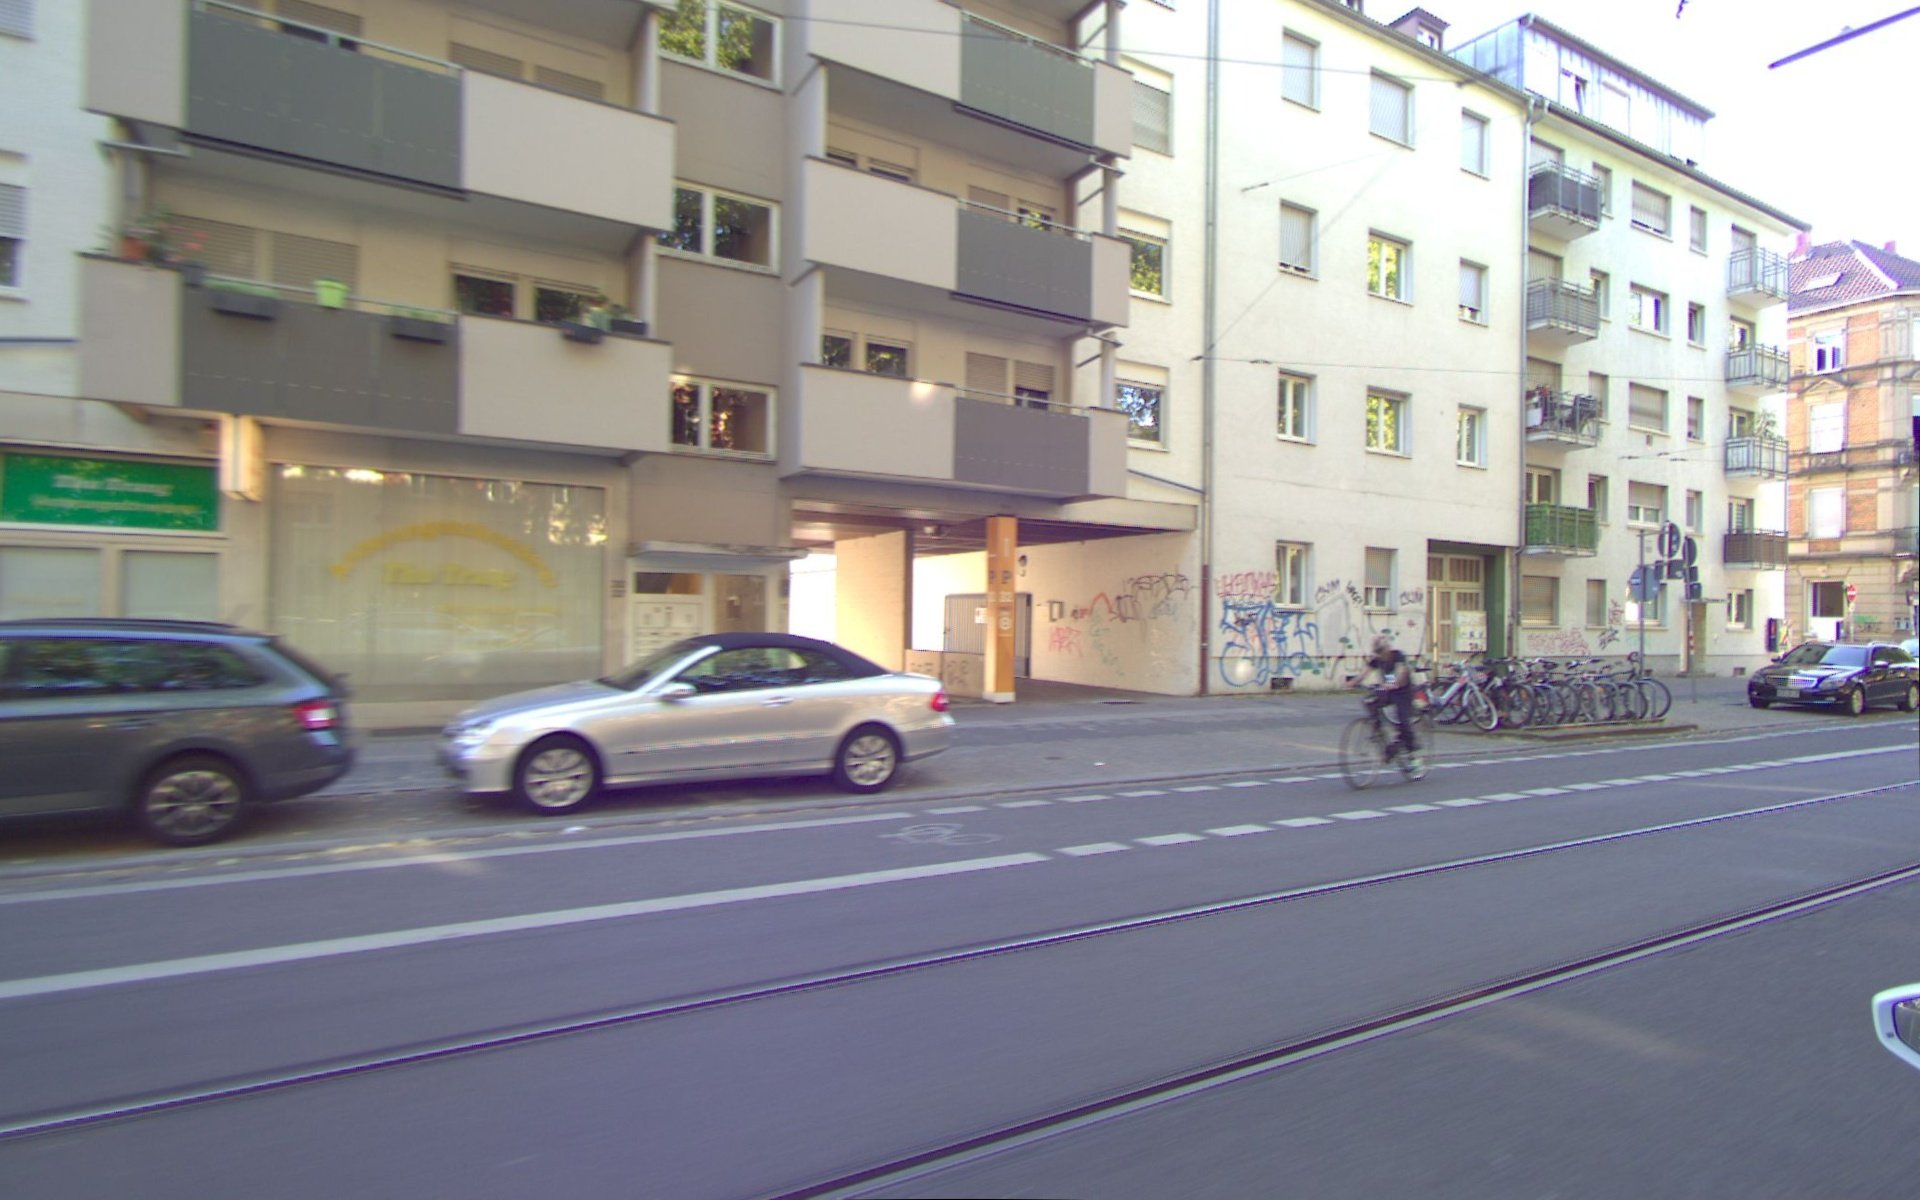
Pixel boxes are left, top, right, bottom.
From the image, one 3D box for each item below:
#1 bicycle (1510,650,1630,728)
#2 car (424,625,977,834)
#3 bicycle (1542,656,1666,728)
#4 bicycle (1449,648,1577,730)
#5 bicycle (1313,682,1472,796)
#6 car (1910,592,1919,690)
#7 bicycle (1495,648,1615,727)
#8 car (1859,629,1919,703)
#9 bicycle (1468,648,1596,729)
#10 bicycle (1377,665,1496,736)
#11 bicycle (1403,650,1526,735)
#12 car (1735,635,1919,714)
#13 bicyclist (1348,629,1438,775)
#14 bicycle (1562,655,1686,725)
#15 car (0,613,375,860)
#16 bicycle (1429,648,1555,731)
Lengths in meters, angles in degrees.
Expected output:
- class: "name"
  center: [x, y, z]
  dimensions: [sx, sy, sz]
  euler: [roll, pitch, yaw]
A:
- class: "bicycle"
  center: [10.194, 1.465, 16.861]
  dimensions: [0.418, 1.134, 1.785]
  euler: [1, 0, -23]
- class: "car"
  center: [-2.273, 1.015, 9.262]
  dimensions: [4.671, 1.511, 1.682]
  euler: [1, -1, -30]
- class: "bicycle"
  center: [11.033, 1.549, 17.288]
  dimensions: [0.396, 1.051, 1.889]
  euler: [1, 0, -23]
- class: "bicycle"
  center: [8.885, 1.401, 16.240]
  dimensions: [0.433, 1.134, 1.956]
  euler: [1, 0, -23]
- class: "bicycle"
  center: [4.410, 1.370, 10.190]
  dimensions: [1.924, 1.031, 0.415]
  euler: [1, -3, -30]
- class: "car"
  center: [28.174, 1.138, 27.123]
  dimensions: [5.597, 2.569, 2.056]
  euler: [1, -1, -29]
- class: "bicycle"
  center: [9.901, 1.429, 16.797]
  dimensions: [0.418, 1.134, 1.815]
  euler: [1, 0, -23]
- class: "car"
  center: [23.394, 1.557, 24.017]
  dimensions: [4.298, 1.653, 1.709]
  euler: [1, -1, -32]
- class: "bicycle"
  center: [9.315, 1.413, 16.456]
  dimensions: [0.418, 1.134, 1.964]
  euler: [1, 0, -23]
- class: "bicycle"
  center: [7.315, 1.523, 15.484]
  dimensions: [1.601, 0.929, 0.400]
  euler: [2, 0, 44]
- class: "bicycle"
  center: [7.850, 1.409, 15.723]
  dimensions: [0.396, 1.134, 1.889]
  euler: [1, 0, -23]
- class: "car"
  center: [18.532, 1.516, 21.256]
  dimensions: [4.515, 1.475, 1.711]
  euler: [1, -1, -29]
- class: "bicyclist"
  center: [4.387, 1.012, 10.184]
  dimensions: [0.701, 1.412, 0.506]
  euler: [1, -3, -30]
- class: "bicycle"
  center: [11.568, 1.542, 17.567]
  dimensions: [0.396, 1.051, 1.889]
  euler: [1, 0, -23]
- class: "car"
  center: [-6.451, 0.850, 6.878]
  dimensions: [4.193, 1.511, 1.784]
  euler: [1, -1, -32]
- class: "bicycle"
  center: [8.416, 1.389, 15.989]
  dimensions: [0.433, 1.134, 1.926]
  euler: [1, 0, -23]
